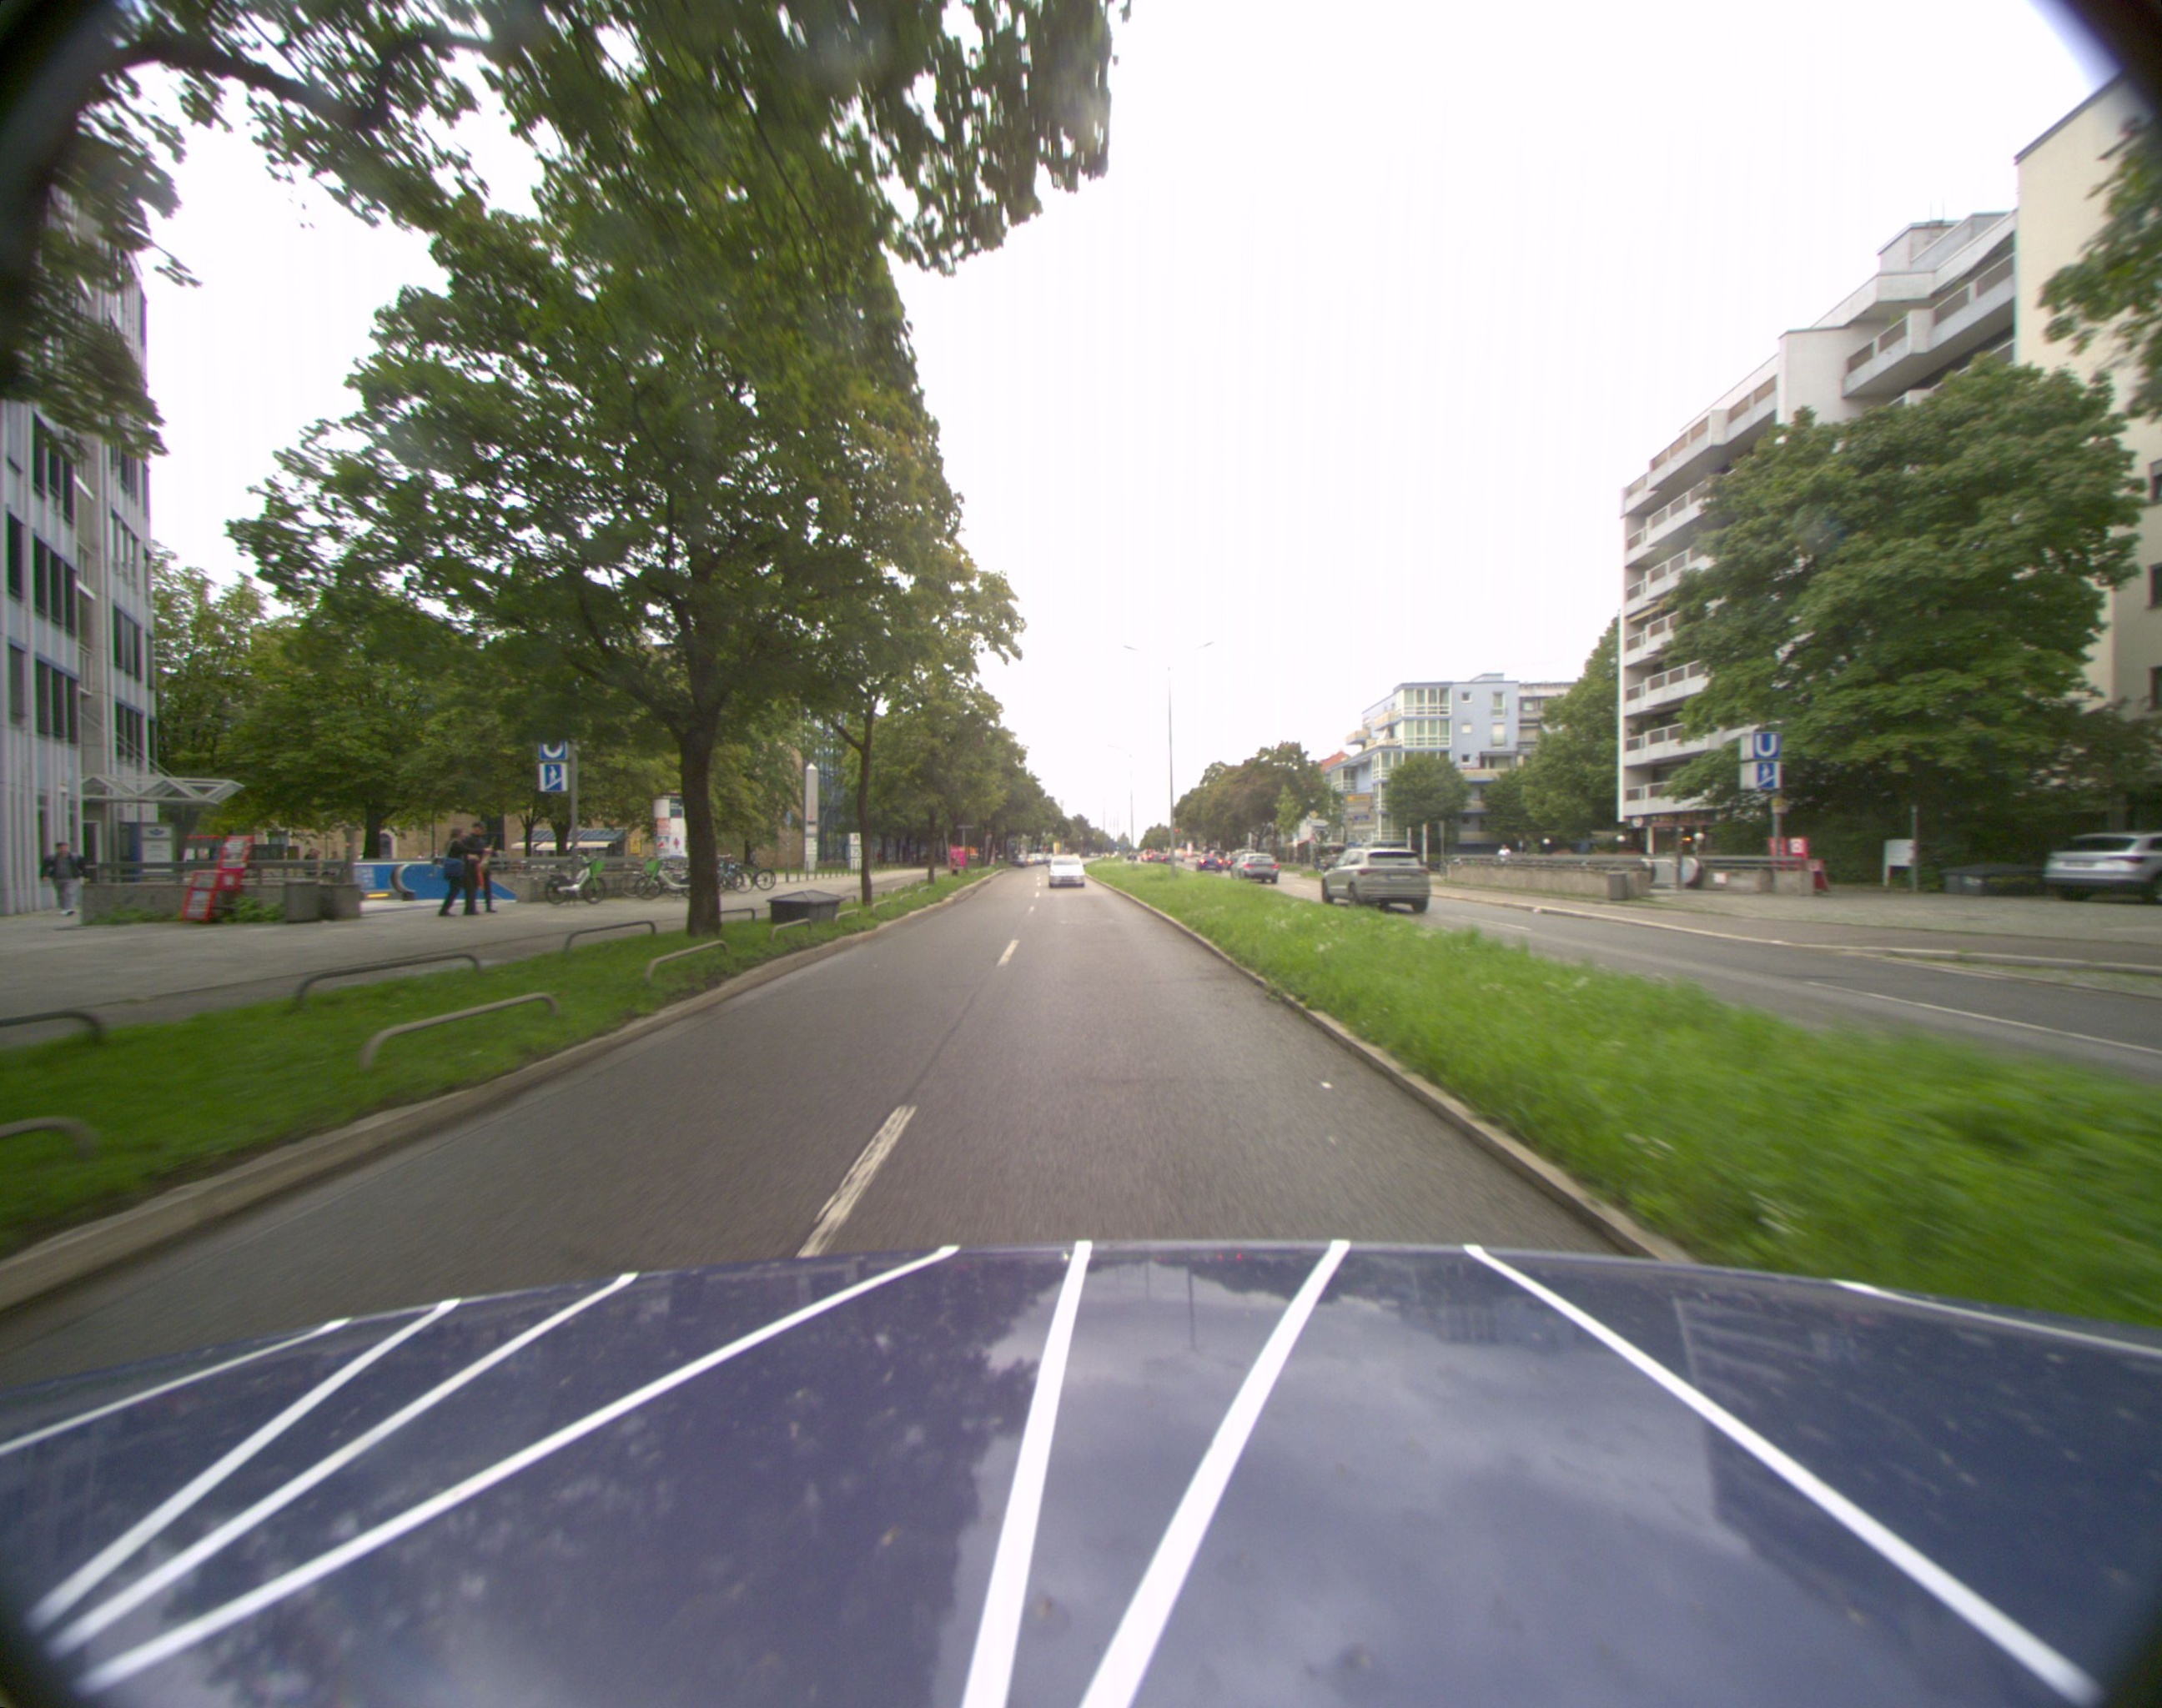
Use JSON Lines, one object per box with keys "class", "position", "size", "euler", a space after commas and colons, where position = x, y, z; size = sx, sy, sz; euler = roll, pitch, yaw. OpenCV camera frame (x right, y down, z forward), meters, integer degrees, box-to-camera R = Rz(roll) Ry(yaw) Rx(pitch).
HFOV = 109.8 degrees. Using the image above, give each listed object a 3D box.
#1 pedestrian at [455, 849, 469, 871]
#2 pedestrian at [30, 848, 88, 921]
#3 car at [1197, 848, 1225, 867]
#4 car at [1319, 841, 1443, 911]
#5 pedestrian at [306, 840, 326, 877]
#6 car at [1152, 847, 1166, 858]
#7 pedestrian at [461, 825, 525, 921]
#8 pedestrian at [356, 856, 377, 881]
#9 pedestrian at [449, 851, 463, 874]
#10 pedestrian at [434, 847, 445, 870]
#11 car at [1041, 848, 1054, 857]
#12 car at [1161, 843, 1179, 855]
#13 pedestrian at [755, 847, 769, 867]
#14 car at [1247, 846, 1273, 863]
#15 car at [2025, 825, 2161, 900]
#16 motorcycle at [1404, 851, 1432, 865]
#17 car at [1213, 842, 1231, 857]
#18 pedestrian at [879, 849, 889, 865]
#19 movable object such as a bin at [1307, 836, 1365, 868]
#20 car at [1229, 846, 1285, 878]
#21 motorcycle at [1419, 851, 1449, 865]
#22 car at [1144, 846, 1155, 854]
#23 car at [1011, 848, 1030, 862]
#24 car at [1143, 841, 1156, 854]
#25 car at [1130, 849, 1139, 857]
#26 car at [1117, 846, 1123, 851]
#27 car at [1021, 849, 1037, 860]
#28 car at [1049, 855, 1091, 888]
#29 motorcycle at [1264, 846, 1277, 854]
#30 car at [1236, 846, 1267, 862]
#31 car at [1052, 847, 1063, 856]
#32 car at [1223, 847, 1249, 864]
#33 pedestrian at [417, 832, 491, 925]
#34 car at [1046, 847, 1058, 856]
{"class": "pedestrian", "position": [-46.267, 0.429, 56.813], "size": [0.563, 1.668, 0.593], "euler": [0, 1, 2]}
{"class": "pedestrian", "position": [-24.124, 0.703, 17.943], "size": [0.701, 1.668, 0.651], "euler": [-1, 2, -45]}
{"class": "car", "position": [10.011, 0.237, 58.746], "size": [1.695, 1.394, 3.967], "euler": [0, 1, 2]}
{"class": "car", "position": [7.661, 0.480, 19.865], "size": [1.770, 1.615, 4.377], "euler": [0, 1, 4]}
{"class": "pedestrian", "position": [-31.079, 0.186, 30.880], "size": [0.384, 1.483, 0.394], "euler": [0, 1, 11]}
{"class": "car", "position": [11.038, -0.242, 107.676], "size": [1.961, 1.471, 4.259], "euler": [0, 1, 4]}
{"class": "pedestrian", "position": [-11.828, 0.368, 15.295], "size": [0.652, 1.888, 0.750], "euler": [0, 1, 15]}
{"class": "pedestrian", "position": [-49.158, 0.989, 52.298], "size": [0.588, 1.668, 0.866], "euler": [0, 1, 3]}
{"class": "pedestrian", "position": [-46.004, 0.635, 55.923], "size": [0.502, 1.668, 0.594], "euler": [0, 1, 24]}
{"class": "pedestrian", "position": [-46.620, 0.339, 55.213], "size": [0.594, 1.668, 0.501], "euler": [-1, 1, -36]}
{"class": "car", "position": [-5.227, -0.252, 118.779], "size": [1.589, 1.310, 3.735], "euler": [0, 1, 4]}
{"class": "car", "position": [10.556, -0.575, 90.038], "size": [1.786, 1.397, 4.102], "euler": [0, 1, 2]}
{"class": "pedestrian", "position": [-26.462, 0.211, 63.097], "size": [0.571, 1.636, 0.880], "euler": [1, 1, 33]}
{"class": "car", "position": [16.936, 0.031, 72.021], "size": [1.651, 1.481, 3.902], "euler": [0, 1, 2]}
{"class": "car", "position": [24.042, 0.162, 16.754], "size": [3.995, 1.580, 1.749], "euler": [0, 1, 5]}
{"class": "motorcycle", "position": [26.982, 0.304, 60.820], "size": [0.499, 1.126, 2.474], "euler": [0, 1, -18]}
{"class": "car", "position": [18.893, -0.592, 102.042], "size": [1.800, 1.986, 4.547], "euler": [0, 1, 4]}
{"class": "pedestrian", "position": [-20.762, 0.322, 79.982], "size": [0.738, 1.636, 0.863], "euler": [2, 2, 5]}
{"class": "movable object such as a bin", "position": [16.286, -0.148, 48.739], "size": [2.199, 1.942, 3.998], "euler": [0, 1, -2]}
{"class": "car", "position": [8.783, 0.353, 38.247], "size": [1.919, 1.476, 4.865], "euler": [0, 1, 3]}
{"class": "motorcycle", "position": [28.183, 0.309, 60.670], "size": [0.499, 1.126, 2.473], "euler": [-1, 1, -24]}
{"class": "car", "position": [11.869, -0.742, 131.711], "size": [1.795, 1.440, 3.672], "euler": [0, 1, 4]}
{"class": "car", "position": [-6.997, 0.046, 88.189], "size": [1.865, 1.581, 4.602], "euler": [0, 1, 1]}
{"class": "car", "position": [11.062, -1.013, 122.246], "size": [1.944, 1.986, 4.705], "euler": [0, 1, 4]}
{"class": "car", "position": [10.024, -0.273, 142.233], "size": [1.761, 1.440, 3.672], "euler": [0, 1, 4]}
{"class": "car", "position": [10.638, -1.599, 207.932], "size": [1.589, 1.259, 3.735], "euler": [0, 1, 4]}
{"class": "car", "position": [-6.711, 0.022, 97.936], "size": [1.626, 1.374, 4.194], "euler": [0, 1, 2]}
{"class": "car", "position": [-0.446, 0.767, 35.786], "size": [1.679, 1.434, 3.735], "euler": [0, 1, 4]}
{"class": "motorcycle", "position": [27.794, -0.544, 111.314], "size": [1.813, 1.164, 0.464], "euler": [0, 1, -1]}
{"class": "car", "position": [17.188, -0.040, 76.872], "size": [1.704, 1.606, 4.662], "euler": [0, 1, -4]}
{"class": "car", "position": [-4.182, -0.493, 135.838], "size": [1.589, 1.495, 3.735], "euler": [0, 1, 4]}
{"class": "car", "position": [13.768, 0.091, 67.543], "size": [1.695, 1.476, 3.967], "euler": [0, 1, 2]}
{"class": "pedestrian", "position": [-11.877, 0.450, 14.402], "size": [0.783, 1.704, 0.751], "euler": [0, 1, 17]}
{"class": "car", "position": [-4.798, -0.394, 124.397], "size": [1.589, 1.395, 3.735], "euler": [0, 1, 4]}
